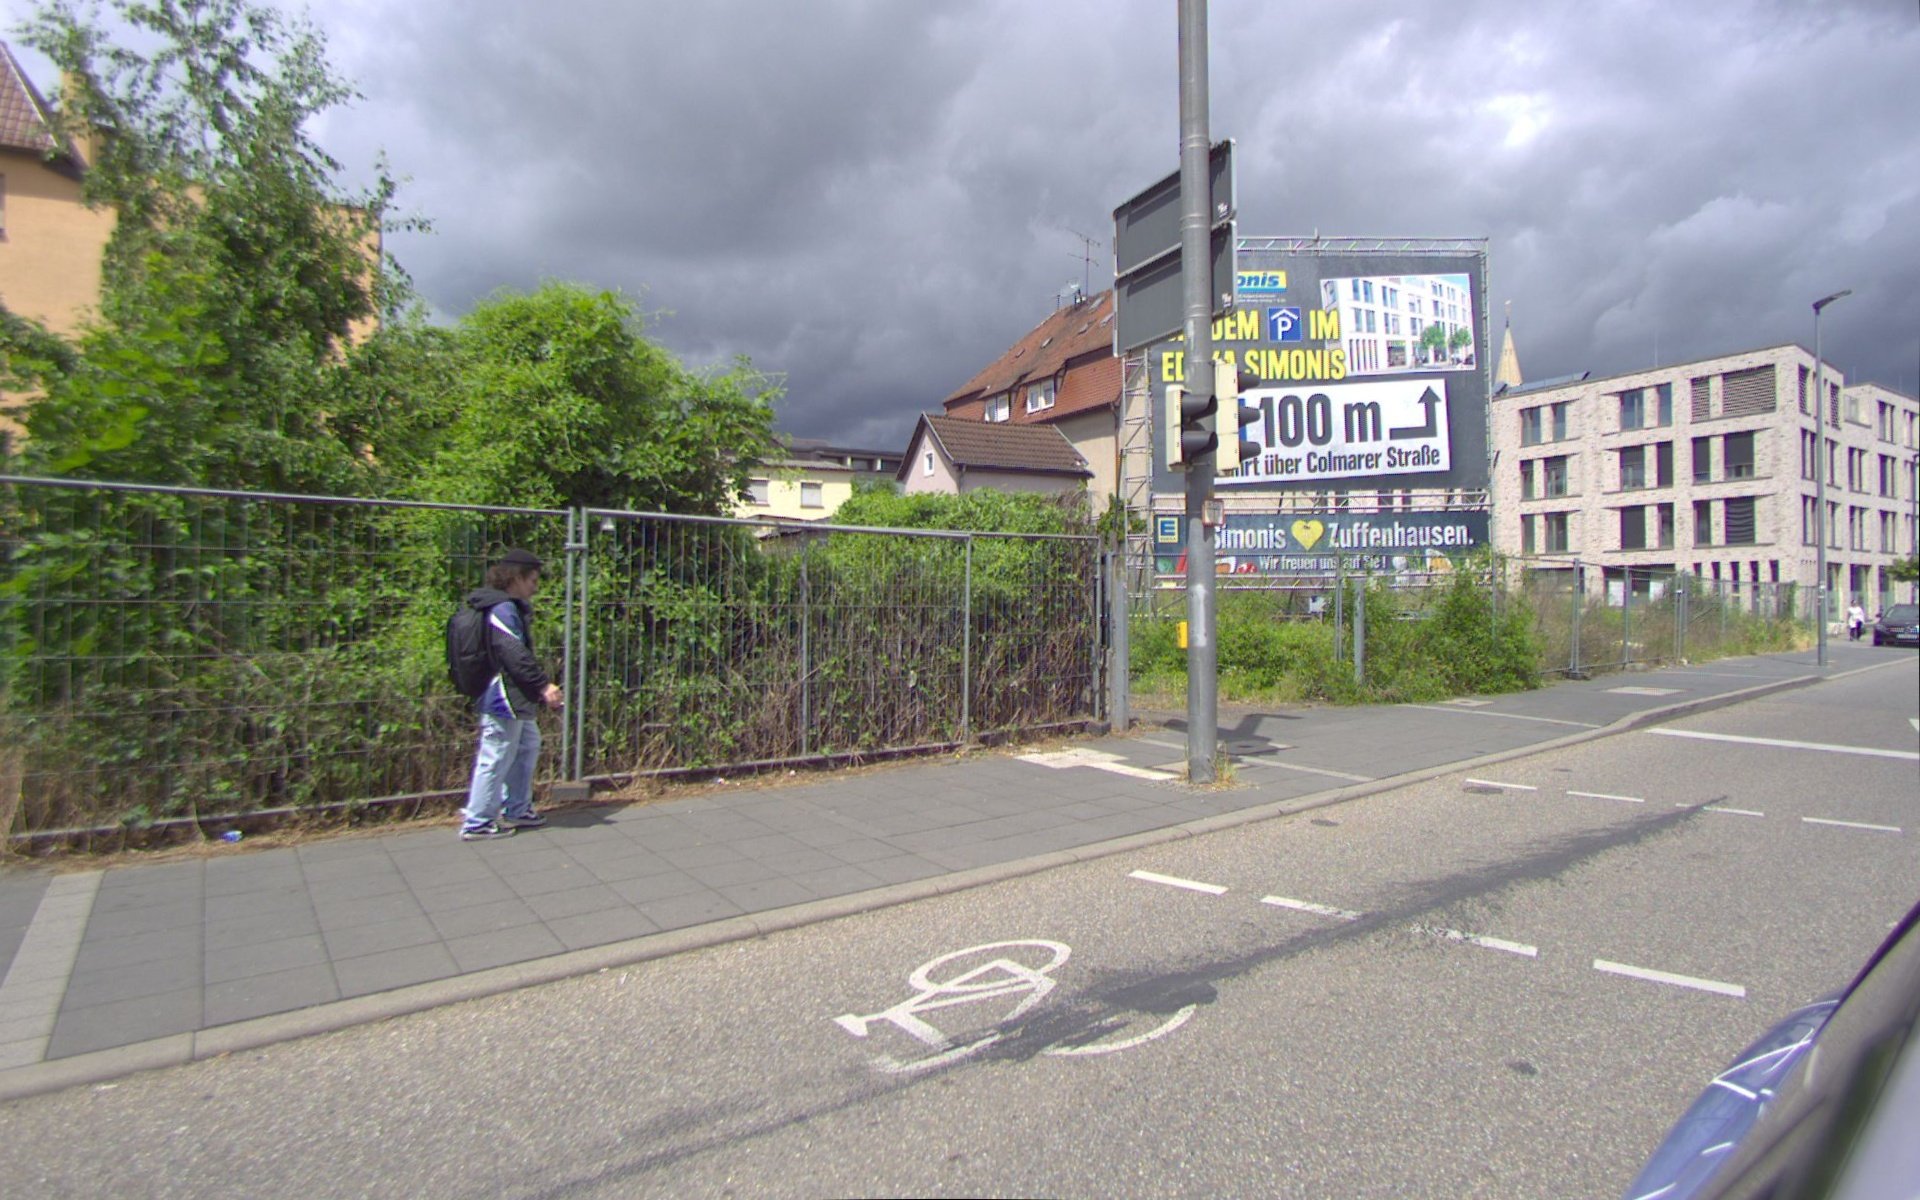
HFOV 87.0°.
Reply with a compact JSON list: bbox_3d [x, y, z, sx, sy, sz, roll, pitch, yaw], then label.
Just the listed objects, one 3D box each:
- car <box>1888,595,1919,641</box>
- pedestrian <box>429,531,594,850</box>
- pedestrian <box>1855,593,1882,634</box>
[{"bbox_3d":[32.730,0.596,34.021,3.726,1.441,1.678,-1,2,-39],"label":"car"},{"bbox_3d":[-2.582,0.472,5.794,0.762,1.663,0.768,2,0,-29],"label":"pedestrian"},{"bbox_3d":[33.926,0.494,37.794,0.769,1.531,0.673,1,0,-41],"label":"pedestrian"}]
